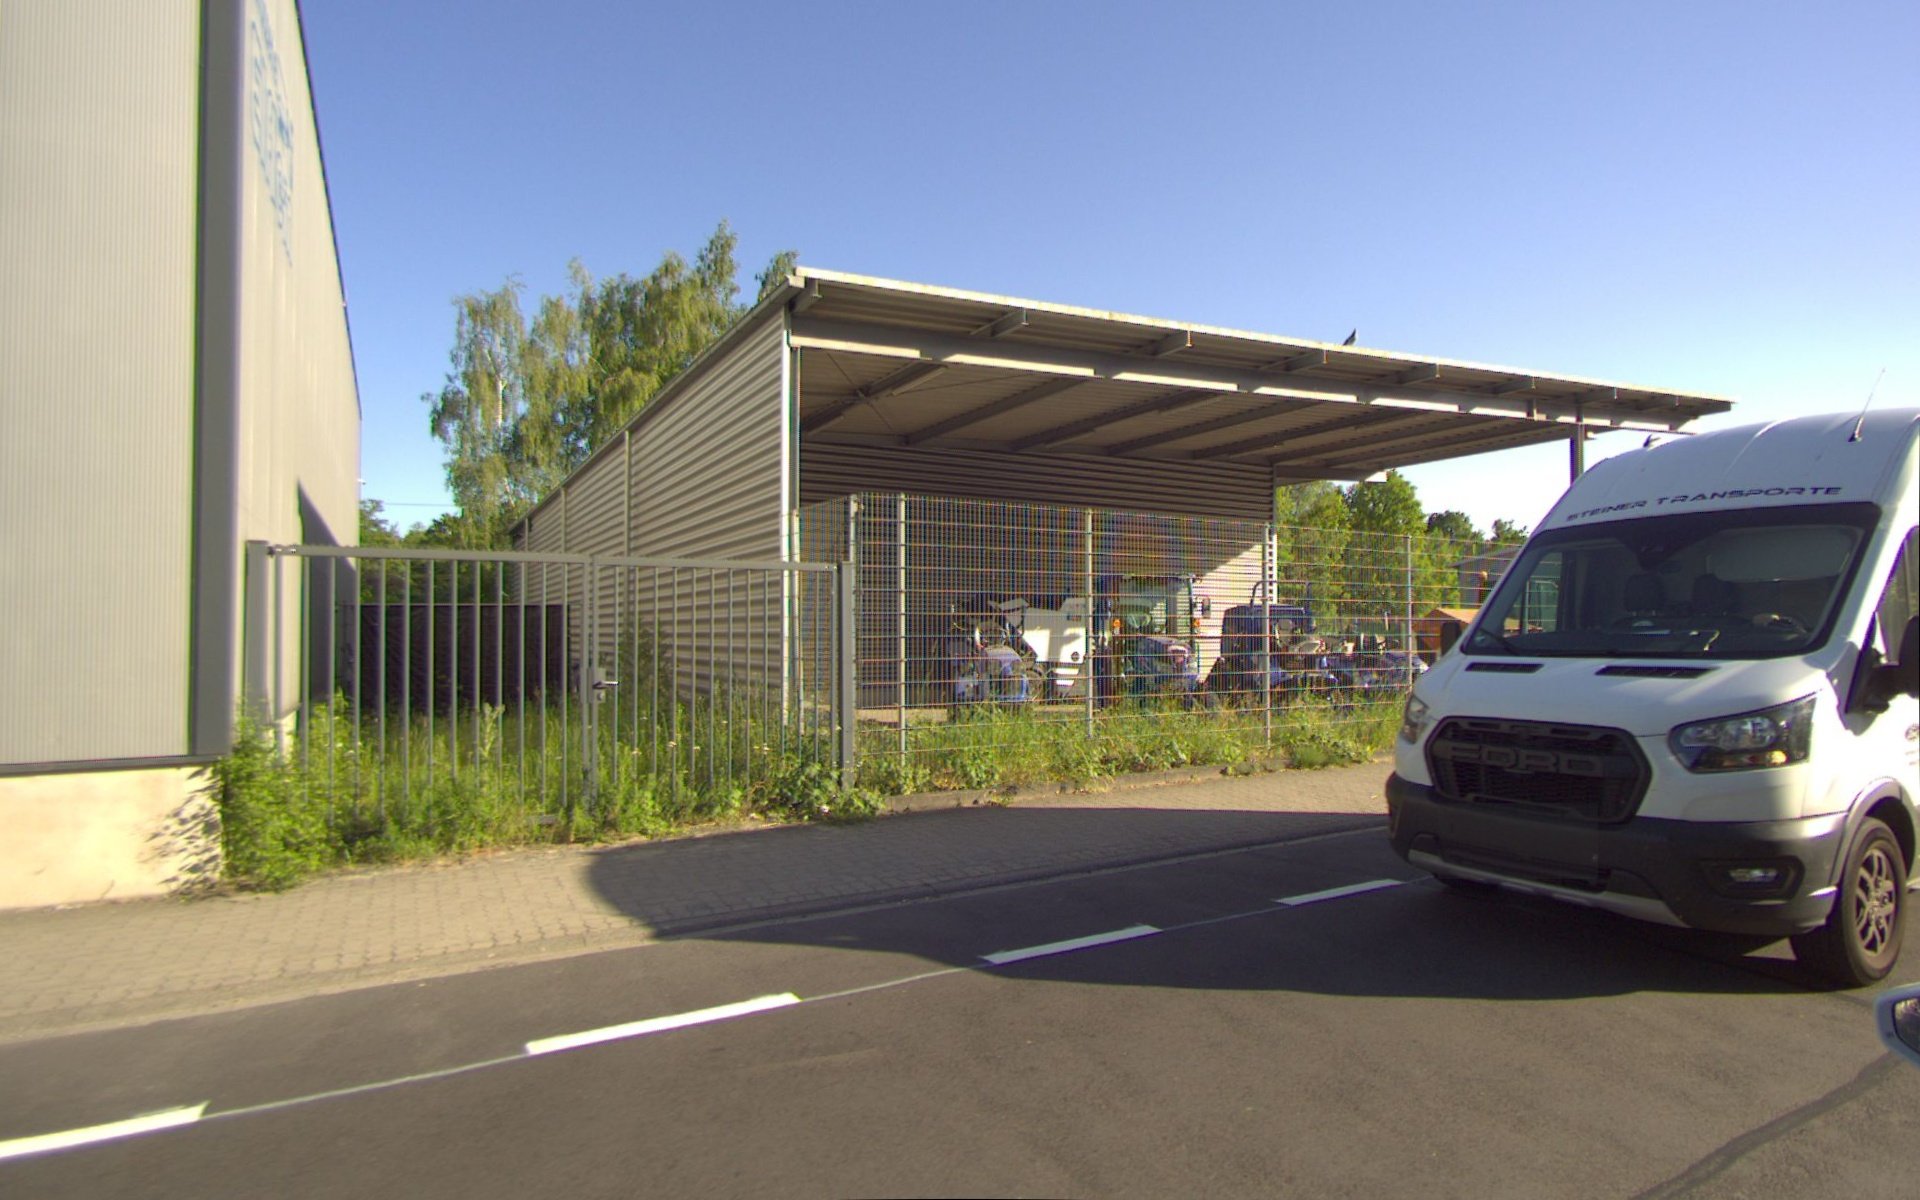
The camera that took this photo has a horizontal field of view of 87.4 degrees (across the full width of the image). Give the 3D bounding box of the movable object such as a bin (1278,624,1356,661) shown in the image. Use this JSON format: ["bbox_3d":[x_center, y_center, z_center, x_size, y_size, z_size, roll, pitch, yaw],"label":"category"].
[{"bbox_3d":[20.797,2.467,58.661,1.978,2.040,3.966,0,-2,-32],"label":"movable object such as a bin"}]

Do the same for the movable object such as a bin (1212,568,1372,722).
[{"bbox_3d":[5.027,0.674,15.530,1.358,2.154,2.799,0,-2,-4],"label":"movable object such as a bin"}]

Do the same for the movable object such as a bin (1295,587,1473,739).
[{"bbox_3d":[6.616,0.947,15.964,1.470,2.177,2.889,0,-2,-3],"label":"movable object such as a bin"}]

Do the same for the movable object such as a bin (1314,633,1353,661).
[{"bbox_3d":[22.600,2.826,60.841,1.346,1.692,1.783,0,-2,-32],"label":"movable object such as a bin"}]

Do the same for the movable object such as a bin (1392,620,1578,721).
[{"bbox_3d":[9.578,1.233,18.449,1.508,1.703,2.624,0,-2,-31],"label":"movable object such as a bin"}]

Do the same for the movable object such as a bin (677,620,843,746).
[{"bbox_3d":[-2.840,1.113,14.206,1.935,1.631,1.461,0,-2,-32],"label":"movable object such as a bin"}]

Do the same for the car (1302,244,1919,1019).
[{"bbox_3d":[4.948,0.230,6.081,5.858,2.816,2.113,2,-5,-31],"label":"car"}]

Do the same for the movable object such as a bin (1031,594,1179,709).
[{"bbox_3d":[2.850,0.975,19.767,2.451,2.120,1.568,0,-2,-32],"label":"movable object such as a bin"}]

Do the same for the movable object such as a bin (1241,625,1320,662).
[{"bbox_3d":[18.120,2.441,56.914,1.978,2.040,3.966,0,-2,-32],"label":"movable object such as a bin"}]

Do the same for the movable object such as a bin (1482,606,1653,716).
[{"bbox_3d":[11.729,1.118,19.371,3.064,1.960,1.648,1,-2,-33],"label":"movable object such as a bin"}]

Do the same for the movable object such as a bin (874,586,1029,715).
[{"bbox_3d":[-0.155,0.859,17.838,2.286,2.120,1.568,0,-2,-32],"label":"movable object such as a bin"}]

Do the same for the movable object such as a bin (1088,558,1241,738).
[{"bbox_3d":[2.677,0.625,13.691,1.493,2.193,2.773,0,-2,0],"label":"movable object such as a bin"}]

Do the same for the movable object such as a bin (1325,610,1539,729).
[{"bbox_3d":[8.060,1.135,17.356,1.508,1.859,3.024,0,-2,-31],"label":"movable object such as a bin"}]

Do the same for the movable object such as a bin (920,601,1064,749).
[{"bbox_3d":[0.354,0.886,12.910,1.594,1.634,3.406,0,-2,0],"label":"movable object such as a bin"}]
